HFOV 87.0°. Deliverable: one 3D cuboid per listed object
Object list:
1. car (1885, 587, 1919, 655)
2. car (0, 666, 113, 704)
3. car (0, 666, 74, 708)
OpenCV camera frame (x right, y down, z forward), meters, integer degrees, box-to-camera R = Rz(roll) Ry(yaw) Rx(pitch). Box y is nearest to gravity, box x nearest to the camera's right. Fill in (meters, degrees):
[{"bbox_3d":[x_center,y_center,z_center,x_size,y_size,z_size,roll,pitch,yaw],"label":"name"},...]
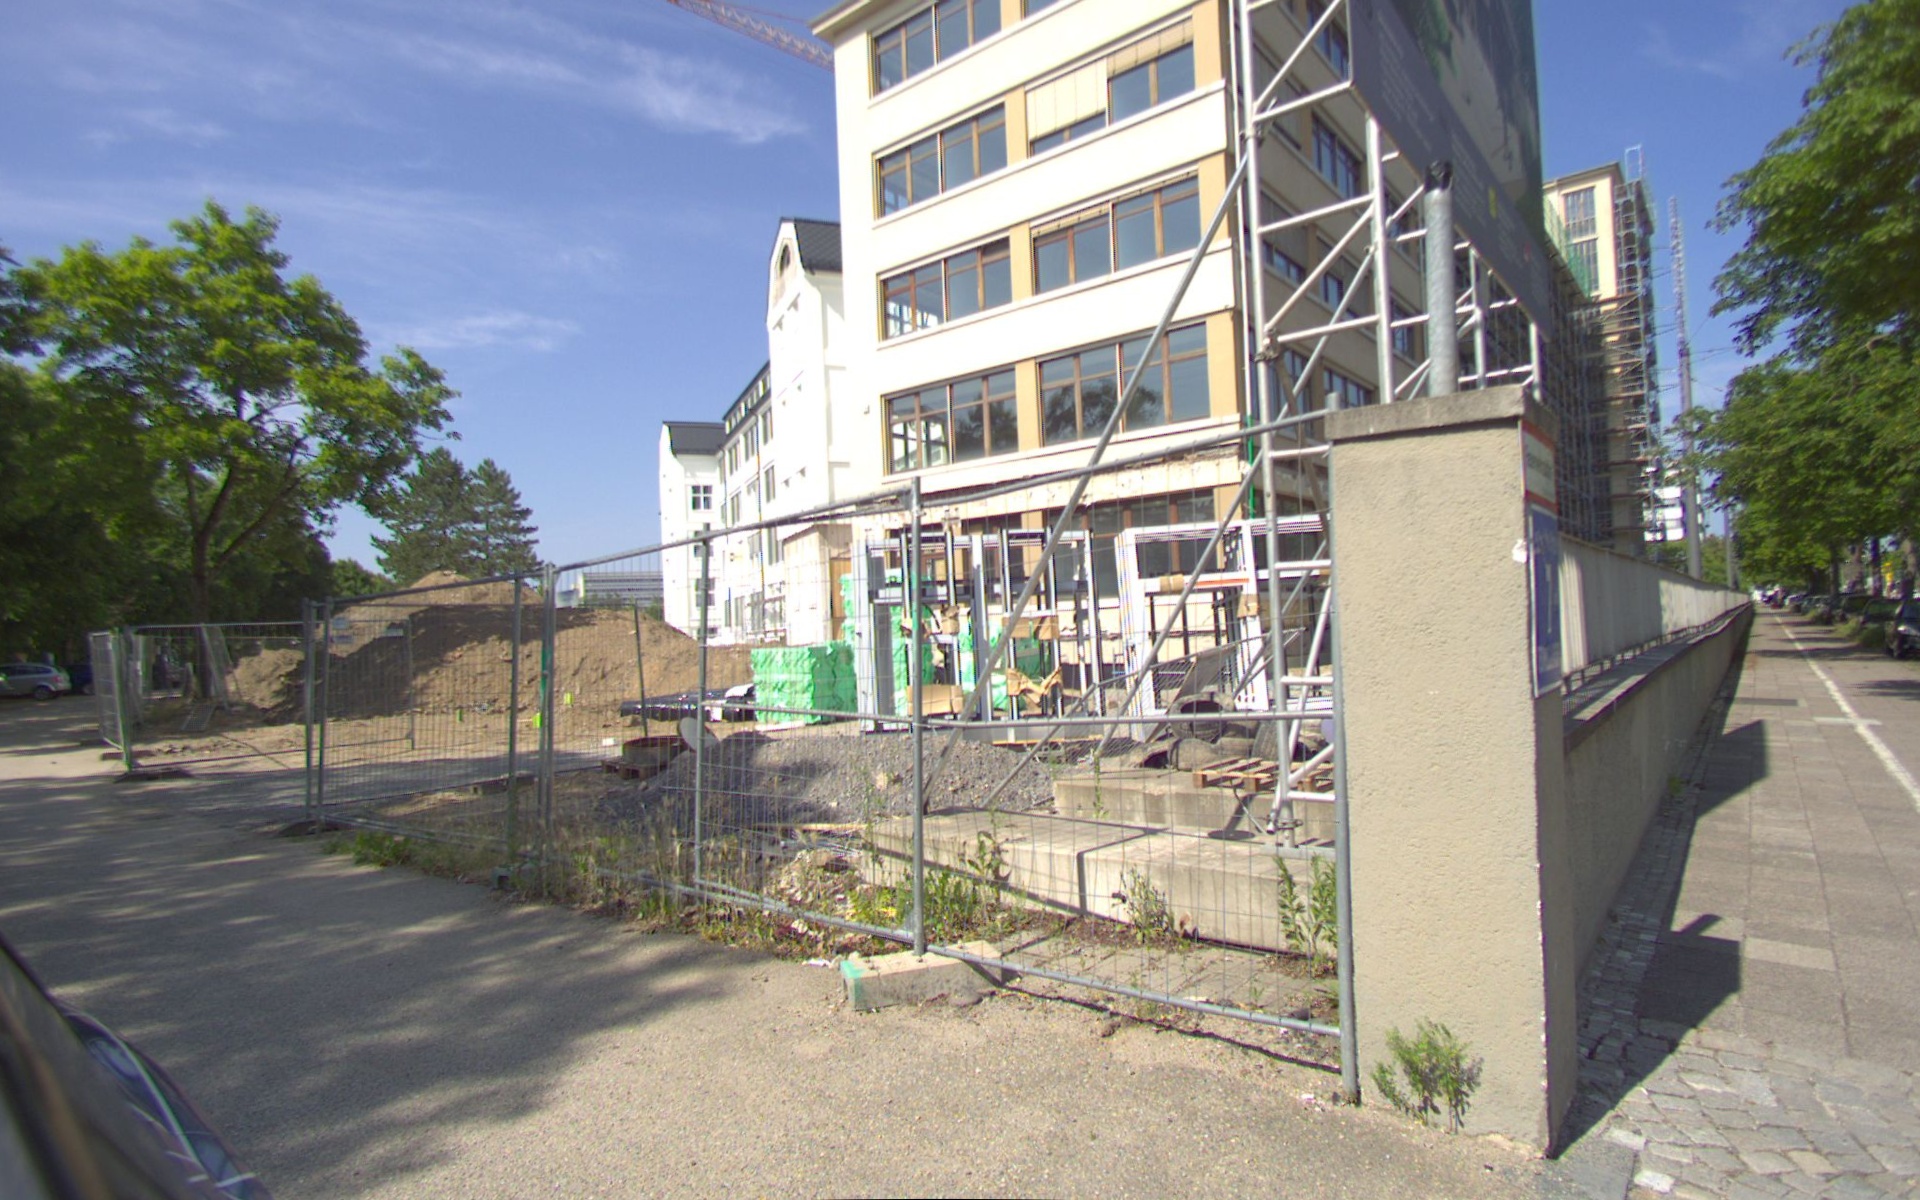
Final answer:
[{"bbox_3d":[22.670,0.425,23.174,1.819,1.464,3.949,-4,-2,38],"label":"car"},{"bbox_3d":[-40.664,3.795,45.288,3.932,1.453,2.006,-1,-2,-31],"label":"car"},{"bbox_3d":[-38.243,3.517,40.466,3.932,1.519,2.006,-1,-2,-31],"label":"car"}]
